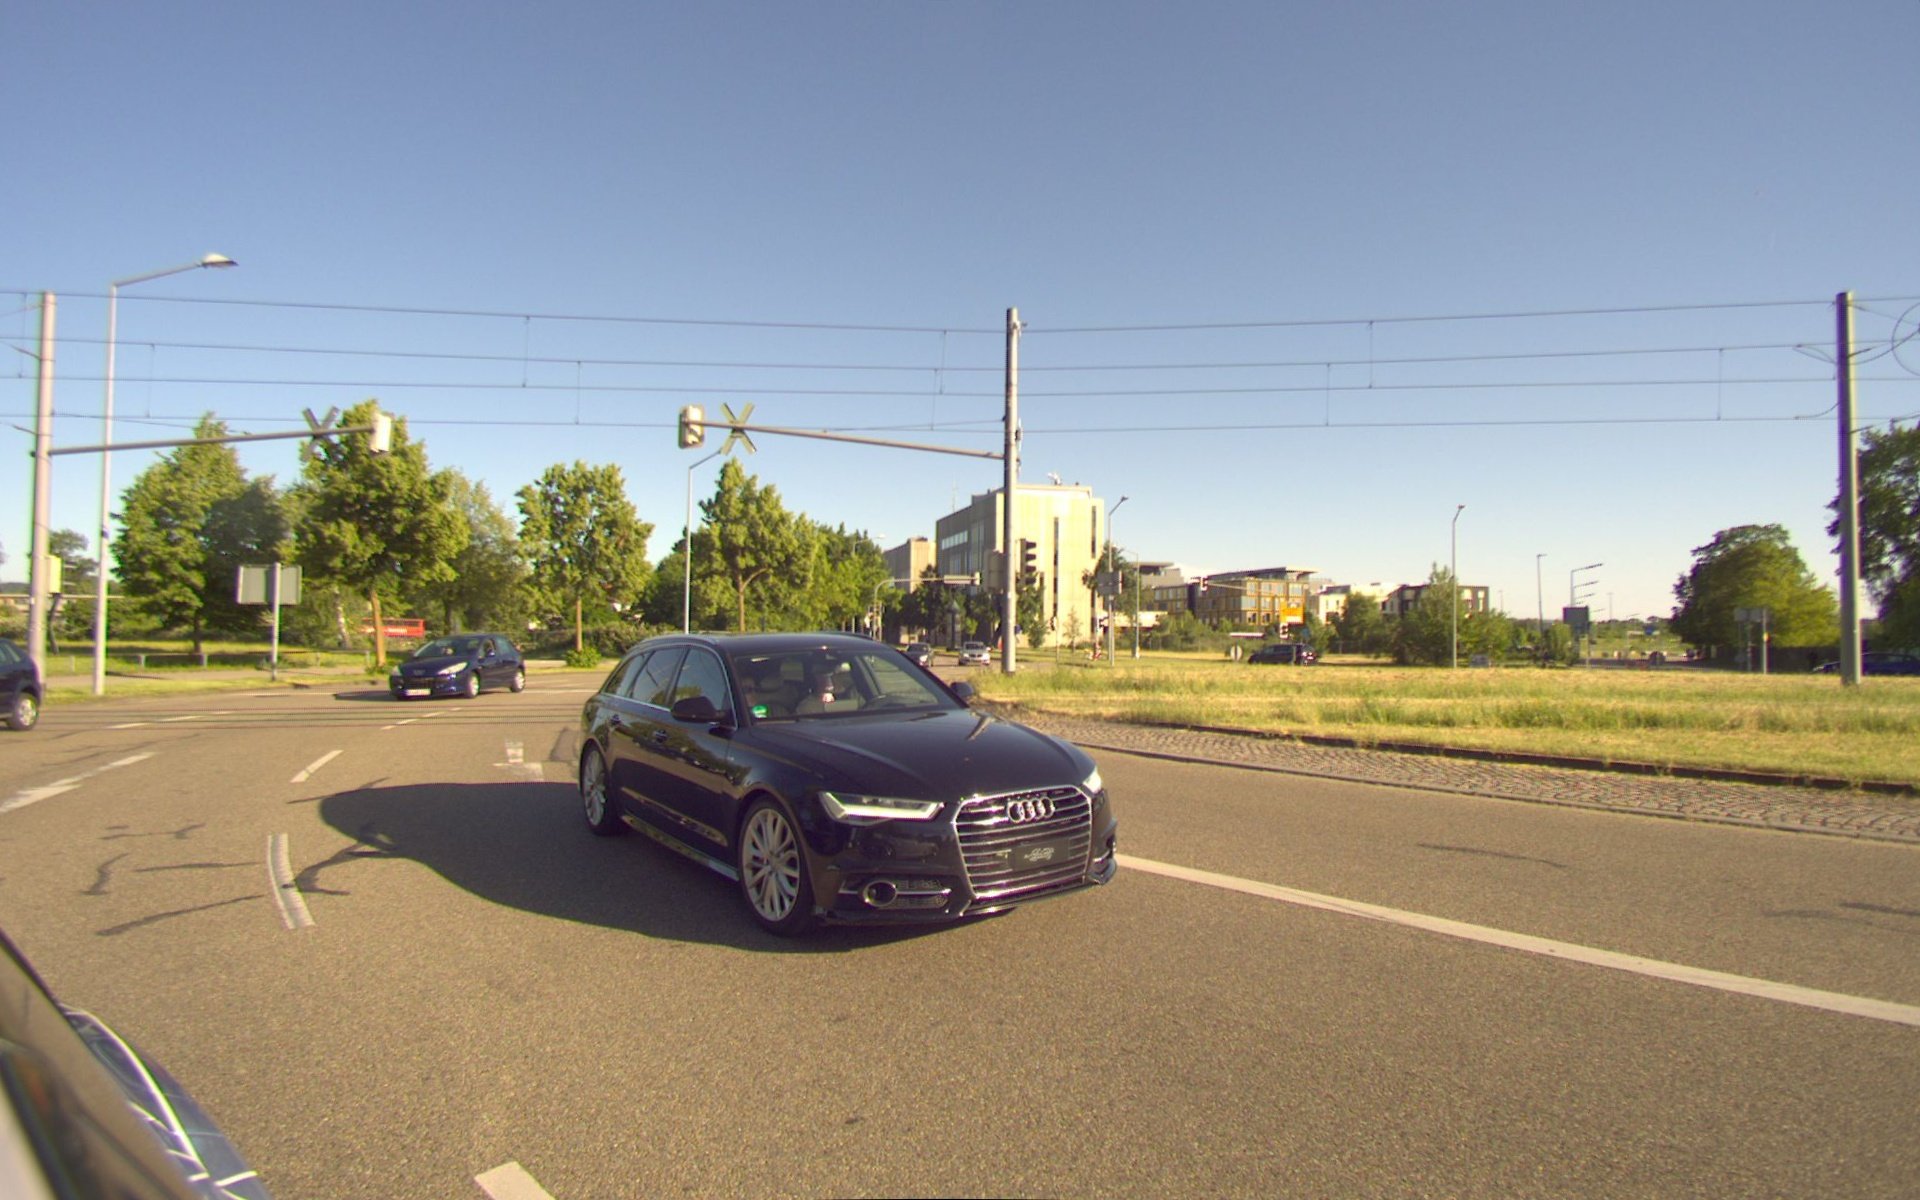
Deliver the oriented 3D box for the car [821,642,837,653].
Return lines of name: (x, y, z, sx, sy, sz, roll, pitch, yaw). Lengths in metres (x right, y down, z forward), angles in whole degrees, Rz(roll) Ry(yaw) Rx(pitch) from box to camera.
car: (-19.852, 7.173, 152.994, 1.925, 1.627, 3.929, 1, -2, -15)

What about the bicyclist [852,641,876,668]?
bicyclist: (-5.939, 3.378, 62.599, 1.070, 1.574, 0.878, 3, -2, -38)

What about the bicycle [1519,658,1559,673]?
bicycle: (38.957, 4.399, 68.088, 2.258, 0.995, 0.654, -1, -3, 36)

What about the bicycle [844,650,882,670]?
bicycle: (-5.963, 3.709, 62.569, 2.181, 1.164, 0.878, 3, -2, -38)

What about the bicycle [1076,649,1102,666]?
bicycle: (8.805, 3.934, 69.075, 1.626, 1.137, 0.707, 1, -2, -24)

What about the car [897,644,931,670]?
car: (-2.796, 3.384, 60.425, 1.697, 1.390, 4.075, -1, -1, -7)

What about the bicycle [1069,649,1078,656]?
bicycle: (13.239, 6.093, 117.699, 0.483, 0.859, 1.893, 1, -3, -11)

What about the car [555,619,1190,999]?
car: (-1.045, 0.889, 6.473, 1.768, 1.454, 5.029, 1, -2, -35)

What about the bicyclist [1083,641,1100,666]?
bicyclist: (8.981, 3.666, 69.173, 0.926, 1.676, 0.707, 1, -2, -24)

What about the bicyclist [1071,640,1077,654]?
bicyclist: (13.236, 5.491, 117.756, 0.426, 1.576, 0.853, 1, -3, -11)

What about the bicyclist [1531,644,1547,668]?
bicyclist: (38.960, 3.781, 68.085, 0.833, 1.592, 0.654, -1, -3, 35)

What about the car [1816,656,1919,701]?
car: (39.733, 3.360, 43.797, 1.748, 1.799, 3.921, 2, -3, -43)

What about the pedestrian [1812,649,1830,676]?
pedestrian: (66.627, 4.855, 78.341, 0.897, 2.029, 0.811, 0, -2, 28)

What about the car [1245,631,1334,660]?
car: (21.456, 2.955, 65.918, 5.008, 1.799, 2.430, -2, -3, 39)

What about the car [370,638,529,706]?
car: (-11.945, 1.659, 23.997, 1.734, 1.465, 3.998, 0, -3, 1)

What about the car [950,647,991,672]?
car: (0.622, 3.751, 64.101, 1.906, 1.390, 4.545, -1, -1, -9)

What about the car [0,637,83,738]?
car: (-14.701, 1.252, 14.271, 1.610, 1.479, 4.558, 1, -3, -14)
